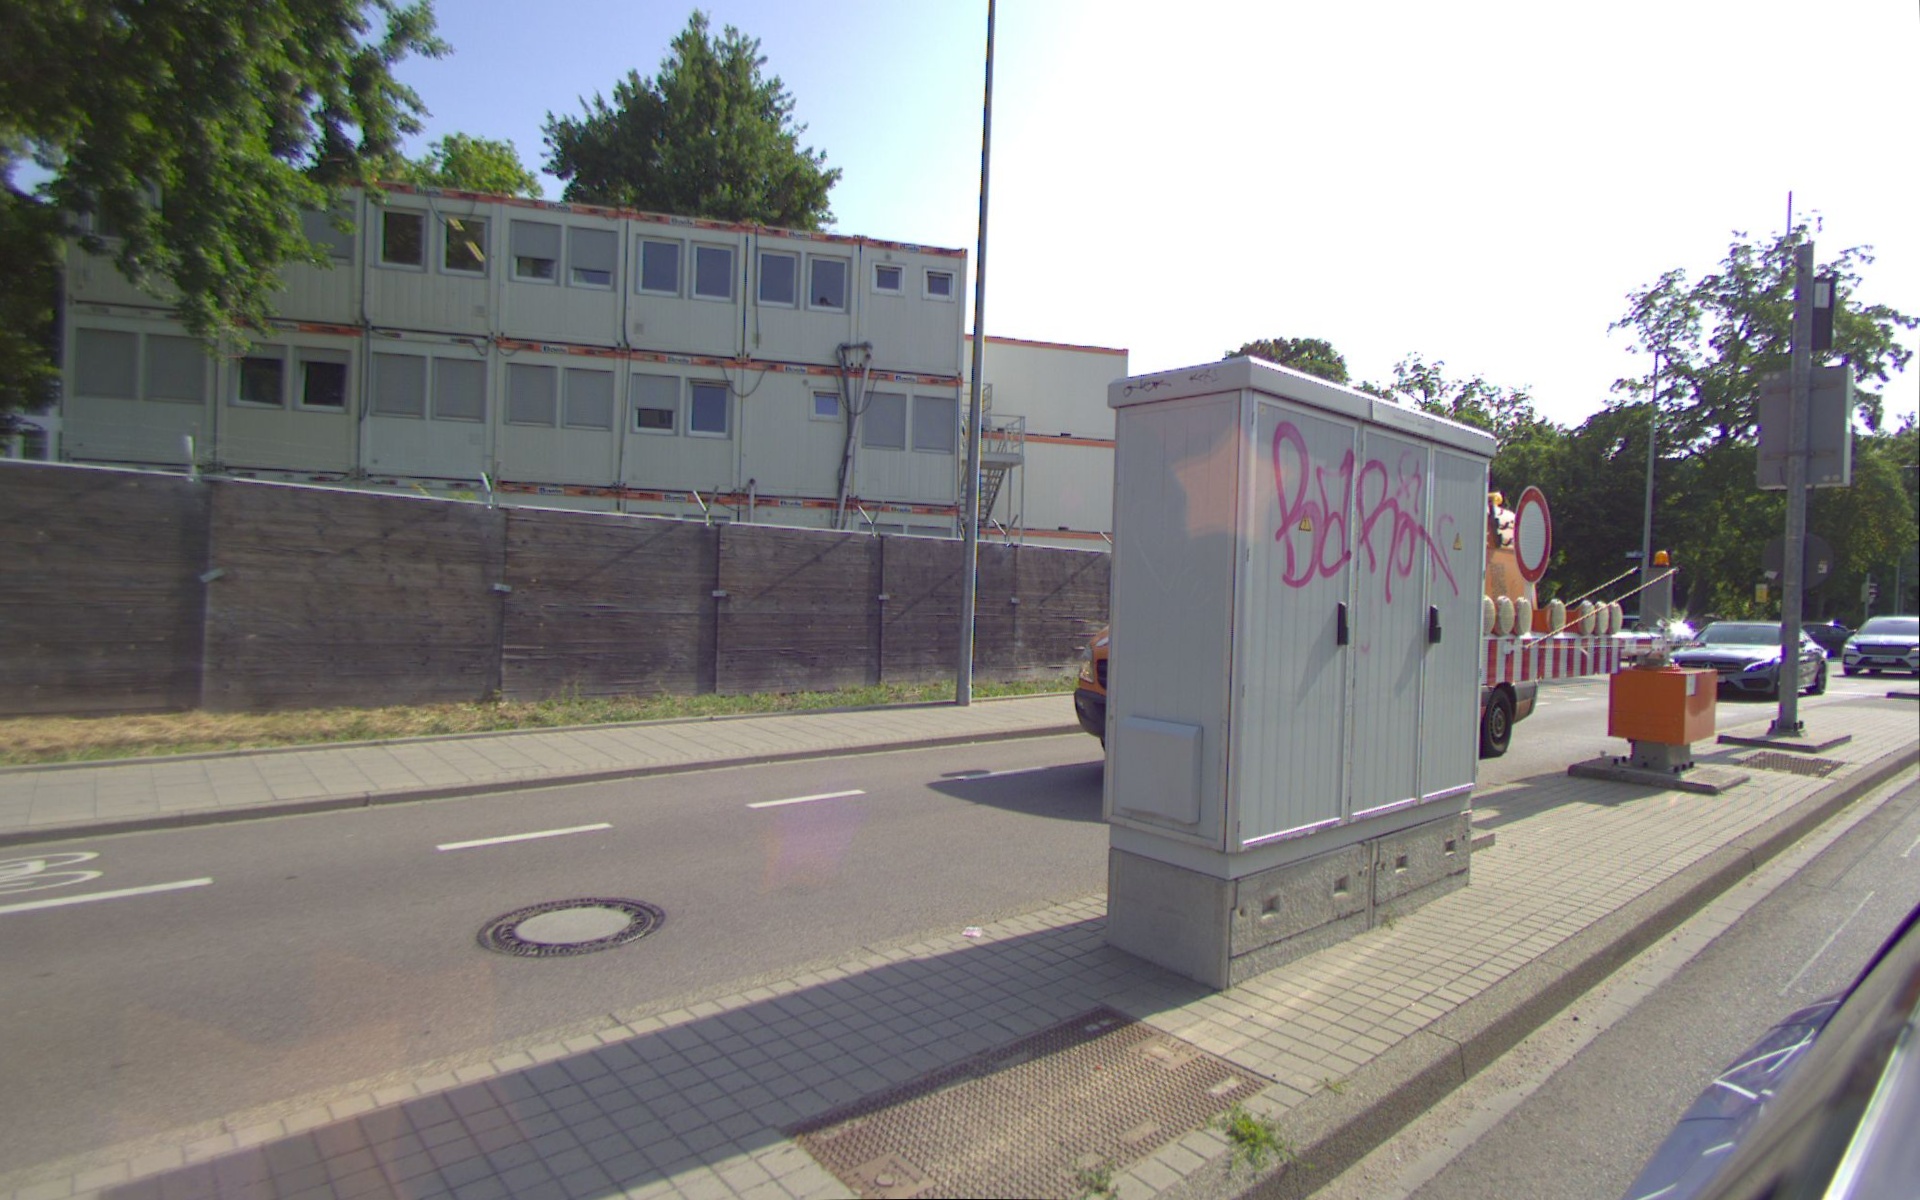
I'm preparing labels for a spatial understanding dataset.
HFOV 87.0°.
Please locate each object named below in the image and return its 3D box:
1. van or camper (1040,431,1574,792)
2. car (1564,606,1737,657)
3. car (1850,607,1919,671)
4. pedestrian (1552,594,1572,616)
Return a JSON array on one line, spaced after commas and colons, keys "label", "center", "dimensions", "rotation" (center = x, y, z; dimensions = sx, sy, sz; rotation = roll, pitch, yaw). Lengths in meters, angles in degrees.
[{"label": "van or camper", "center": [3.616, 0.114, 9.679], "dimensions": [5.951, 2.504, 1.990], "rotation": [1, -1, -39]}, {"label": "car", "center": [22.448, 0.987, 33.098], "dimensions": [1.958, 1.423, 4.291], "rotation": [1, 1, -22]}, {"label": "car", "center": [25.579, 1.009, 27.188], "dimensions": [4.174, 1.590, 1.896], "rotation": [1, 0, -40]}, {"label": "pedestrian", "center": [51.260, 0.422, 86.168], "dimensions": [1.048, 1.854, 0.987], "rotation": [1, 1, -10]}]
